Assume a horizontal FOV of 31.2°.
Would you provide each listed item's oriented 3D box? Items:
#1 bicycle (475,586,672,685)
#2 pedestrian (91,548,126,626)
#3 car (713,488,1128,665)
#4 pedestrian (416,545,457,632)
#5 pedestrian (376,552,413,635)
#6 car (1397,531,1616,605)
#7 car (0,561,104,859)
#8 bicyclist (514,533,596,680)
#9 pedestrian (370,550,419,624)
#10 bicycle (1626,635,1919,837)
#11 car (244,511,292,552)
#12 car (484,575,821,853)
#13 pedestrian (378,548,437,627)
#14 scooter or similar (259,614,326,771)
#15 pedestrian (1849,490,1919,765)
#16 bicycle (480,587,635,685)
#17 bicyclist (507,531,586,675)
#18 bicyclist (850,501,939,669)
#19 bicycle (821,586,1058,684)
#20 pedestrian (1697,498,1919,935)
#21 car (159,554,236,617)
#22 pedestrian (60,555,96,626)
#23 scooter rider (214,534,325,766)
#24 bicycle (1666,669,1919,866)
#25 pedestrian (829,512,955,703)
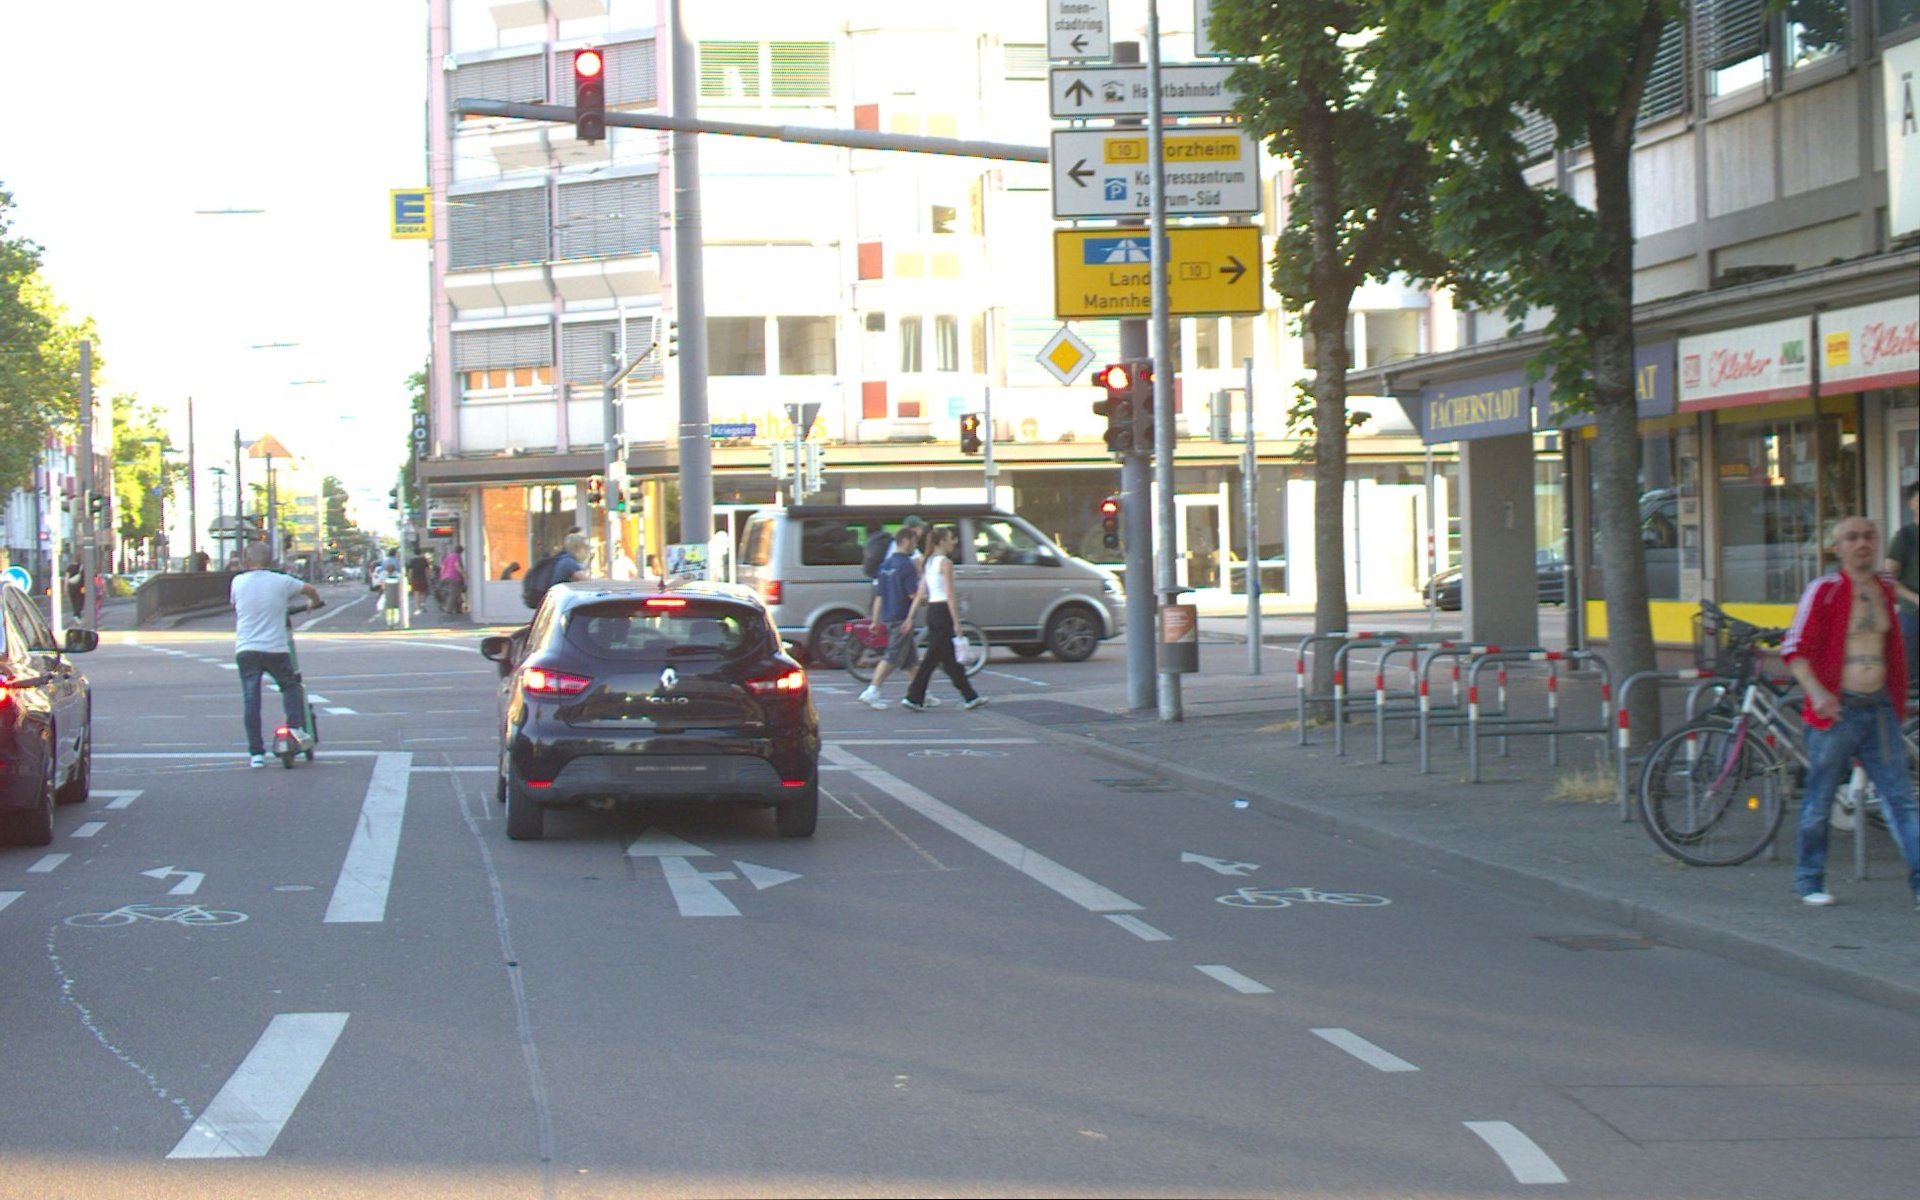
[{"bbox_3d":[-4.104,0.372,36.490,2.035,1.024,0.417,-1,1,-14],"label":"bicycle"},{"bbox_3d":[-20.135,-0.309,81.337,0.701,1.816,0.808,0,0,-7],"label":"pedestrian"},{"bbox_3d":[-0.492,-0.312,42.369,4.682,2.007,2.001,-2,1,-19],"label":"car"},{"bbox_3d":[-14.313,-0.310,94.080,1.084,2.357,1.056,0,0,-8],"label":"pedestrian"},{"bbox_3d":[-15.052,-0.175,91.519,0.931,2.189,0.852,0,0,-12],"label":"pedestrian"},{"bbox_3d":[11.232,-0.646,70.794,3.986,1.471,2.001,0,0,-11],"label":"car"},{"bbox_3d":[-5.858,0.527,19.286,1.744,1.455,4.411,0,1,-10],"label":"car"},{"bbox_3d":[-4.296,0.062,36.456,0.704,1.506,0.550,-3,1,-15],"label":"bicyclist"},{"bbox_3d":[-12.631,-0.292,76.775,0.771,1.618,0.721,0,1,44],"label":"pedestrian"},{"bbox_3d":[4.157,0.667,16.951,1.657,0.971,0.386,0,0,-2],"label":"bicycle"},{"bbox_3d":[-33.027,-3.265,164.052,1.993,1.894,4.001,0,0,-8],"label":"car"},{"bbox_3d":[-1.905,0.588,20.279,1.764,1.435,4.001,0,1,-8],"label":"car"},{"bbox_3d":[-12.175,-0.271,75.740,0.851,1.720,0.932,1,0,40],"label":"pedestrian"},{"bbox_3d":[-4.802,0.651,24.769,0.279,1.087,1.257,0,0,-2],"label":"scooter or similar"},{"bbox_3d":[6.368,0.176,22.611,0.746,1.772,0.800,0,0,-7],"label":"pedestrian"},{"bbox_3d":[-4.347,0.384,37.162,1.611,1.024,0.353,-1,1,-15],"label":"bicycle"},{"bbox_3d":[-4.474,0.029,37.177,0.704,1.506,0.550,-3,1,-14],"label":"bicyclist"},{"bbox_3d":[-0.740,-0.164,38.643,0.860,1.871,0.647,0,0,-15],"label":"bicyclist"},{"bbox_3d":[-0.231,0.398,38.794,2.639,1.096,0.435,0,0,-15],"label":"bicycle"},{"bbox_3d":[3.652,0.445,13.870,0.823,1.679,1.048,0,0,-30],"label":"pedestrian"},{"bbox_3d":[-21.815,-0.415,98.433,1.811,1.740,3.716,0,0,-8],"label":"car"},{"bbox_3d":[-20.918,-0.229,81.540,0.701,1.658,0.808,0,0,-7],"label":"pedestrian"},{"bbox_3d":[-4.975,0.353,24.785,0.662,1.641,0.661,0,0,-1],"label":"scooter rider"},{"bbox_3d":[4.237,0.775,15.982,1.818,0.888,0.415,0,0,-2],"label":"bicycle"},{"bbox_3d":[-0.662,0.070,33.499,0.994,1.824,0.729,0,0,-29],"label":"pedestrian"}]
